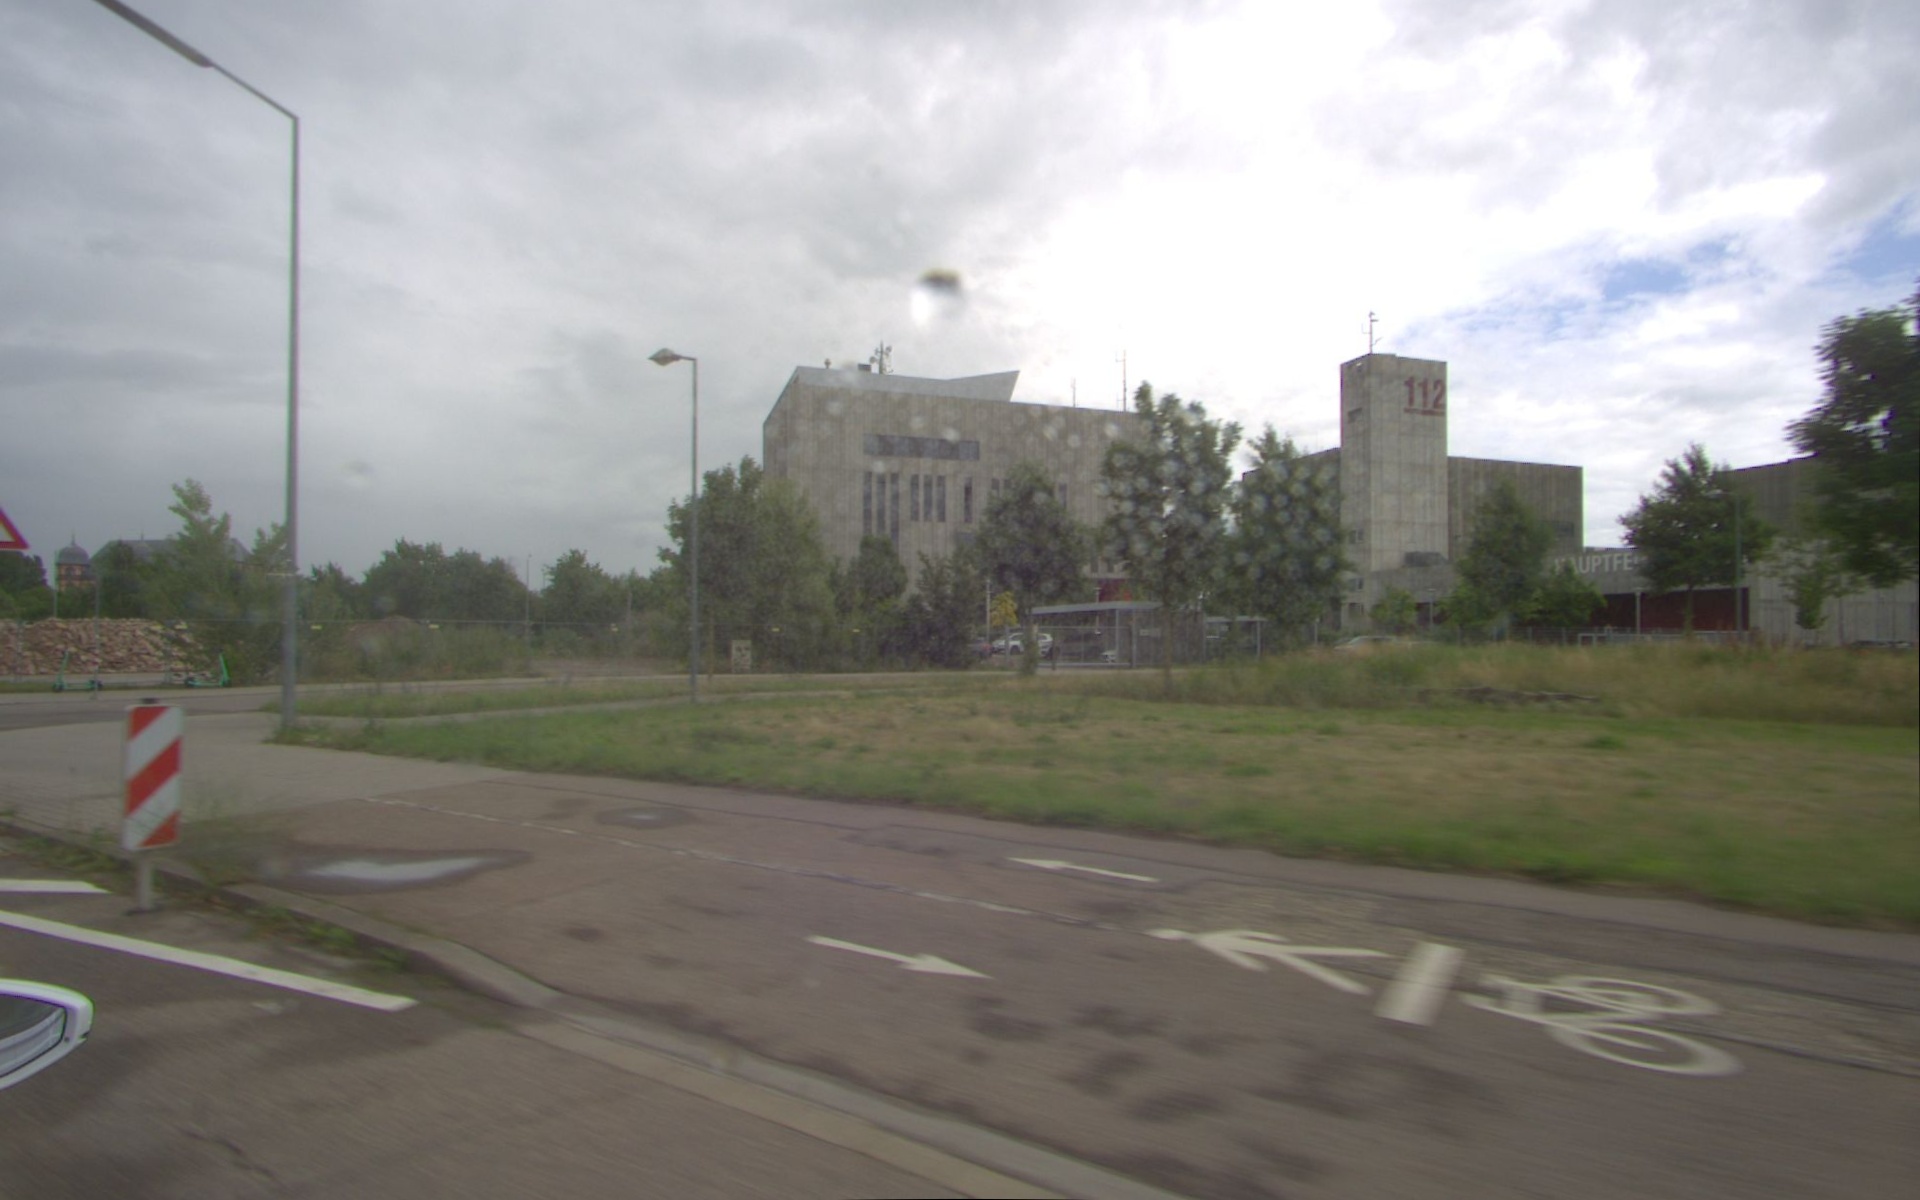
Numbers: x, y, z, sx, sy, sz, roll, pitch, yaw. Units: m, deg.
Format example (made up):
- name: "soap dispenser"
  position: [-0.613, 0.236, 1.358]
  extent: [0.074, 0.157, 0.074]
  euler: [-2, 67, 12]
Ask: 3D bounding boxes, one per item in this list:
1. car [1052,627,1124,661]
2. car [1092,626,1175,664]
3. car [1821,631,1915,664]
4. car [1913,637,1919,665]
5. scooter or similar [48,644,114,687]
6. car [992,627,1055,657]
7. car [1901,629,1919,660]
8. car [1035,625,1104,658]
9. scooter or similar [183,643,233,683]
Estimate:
- name: "car"
  position: [7.793, 2.680, 61.132]
  extent: [3.931, 2.039, 1.996]
  euler: [0, -1, -19]
- name: "car"
  position: [9.361, 2.412, 54.055]
  extent: [3.931, 2.039, 1.996]
  euler: [1, -1, -19]
- name: "car"
  position: [57.571, 2.999, 63.564]
  extent: [1.968, 2.039, 3.988]
  euler: [1, -2, -23]
- name: "car"
  position: [47.741, 2.422, 47.102]
  extent: [1.535, 1.349, 3.996]
  euler: [0, -2, -14]
- name: "scooter or similar"
  position: [-24.704, 1.829, 28.147]
  extent: [1.304, 1.201, 0.445]
  euler: [1, -1, -20]
- name: "car"
  position: [4.459, 2.967, 70.866]
  extent: [3.996, 2.039, 1.996]
  euler: [0, -1, -19]
- name: "car"
  position: [64.710, 2.921, 65.627]
  extent: [1.968, 2.039, 3.988]
  euler: [1, -2, -23]
- name: "car"
  position: [6.923, 2.628, 63.477]
  extent: [3.931, 2.039, 1.996]
  euler: [0, -1, -19]
- name: "scooter or similar"
  position: [-22.578, 1.882, 30.072]
  extent: [1.159, 1.201, 0.443]
  euler: [1, -1, -36]
